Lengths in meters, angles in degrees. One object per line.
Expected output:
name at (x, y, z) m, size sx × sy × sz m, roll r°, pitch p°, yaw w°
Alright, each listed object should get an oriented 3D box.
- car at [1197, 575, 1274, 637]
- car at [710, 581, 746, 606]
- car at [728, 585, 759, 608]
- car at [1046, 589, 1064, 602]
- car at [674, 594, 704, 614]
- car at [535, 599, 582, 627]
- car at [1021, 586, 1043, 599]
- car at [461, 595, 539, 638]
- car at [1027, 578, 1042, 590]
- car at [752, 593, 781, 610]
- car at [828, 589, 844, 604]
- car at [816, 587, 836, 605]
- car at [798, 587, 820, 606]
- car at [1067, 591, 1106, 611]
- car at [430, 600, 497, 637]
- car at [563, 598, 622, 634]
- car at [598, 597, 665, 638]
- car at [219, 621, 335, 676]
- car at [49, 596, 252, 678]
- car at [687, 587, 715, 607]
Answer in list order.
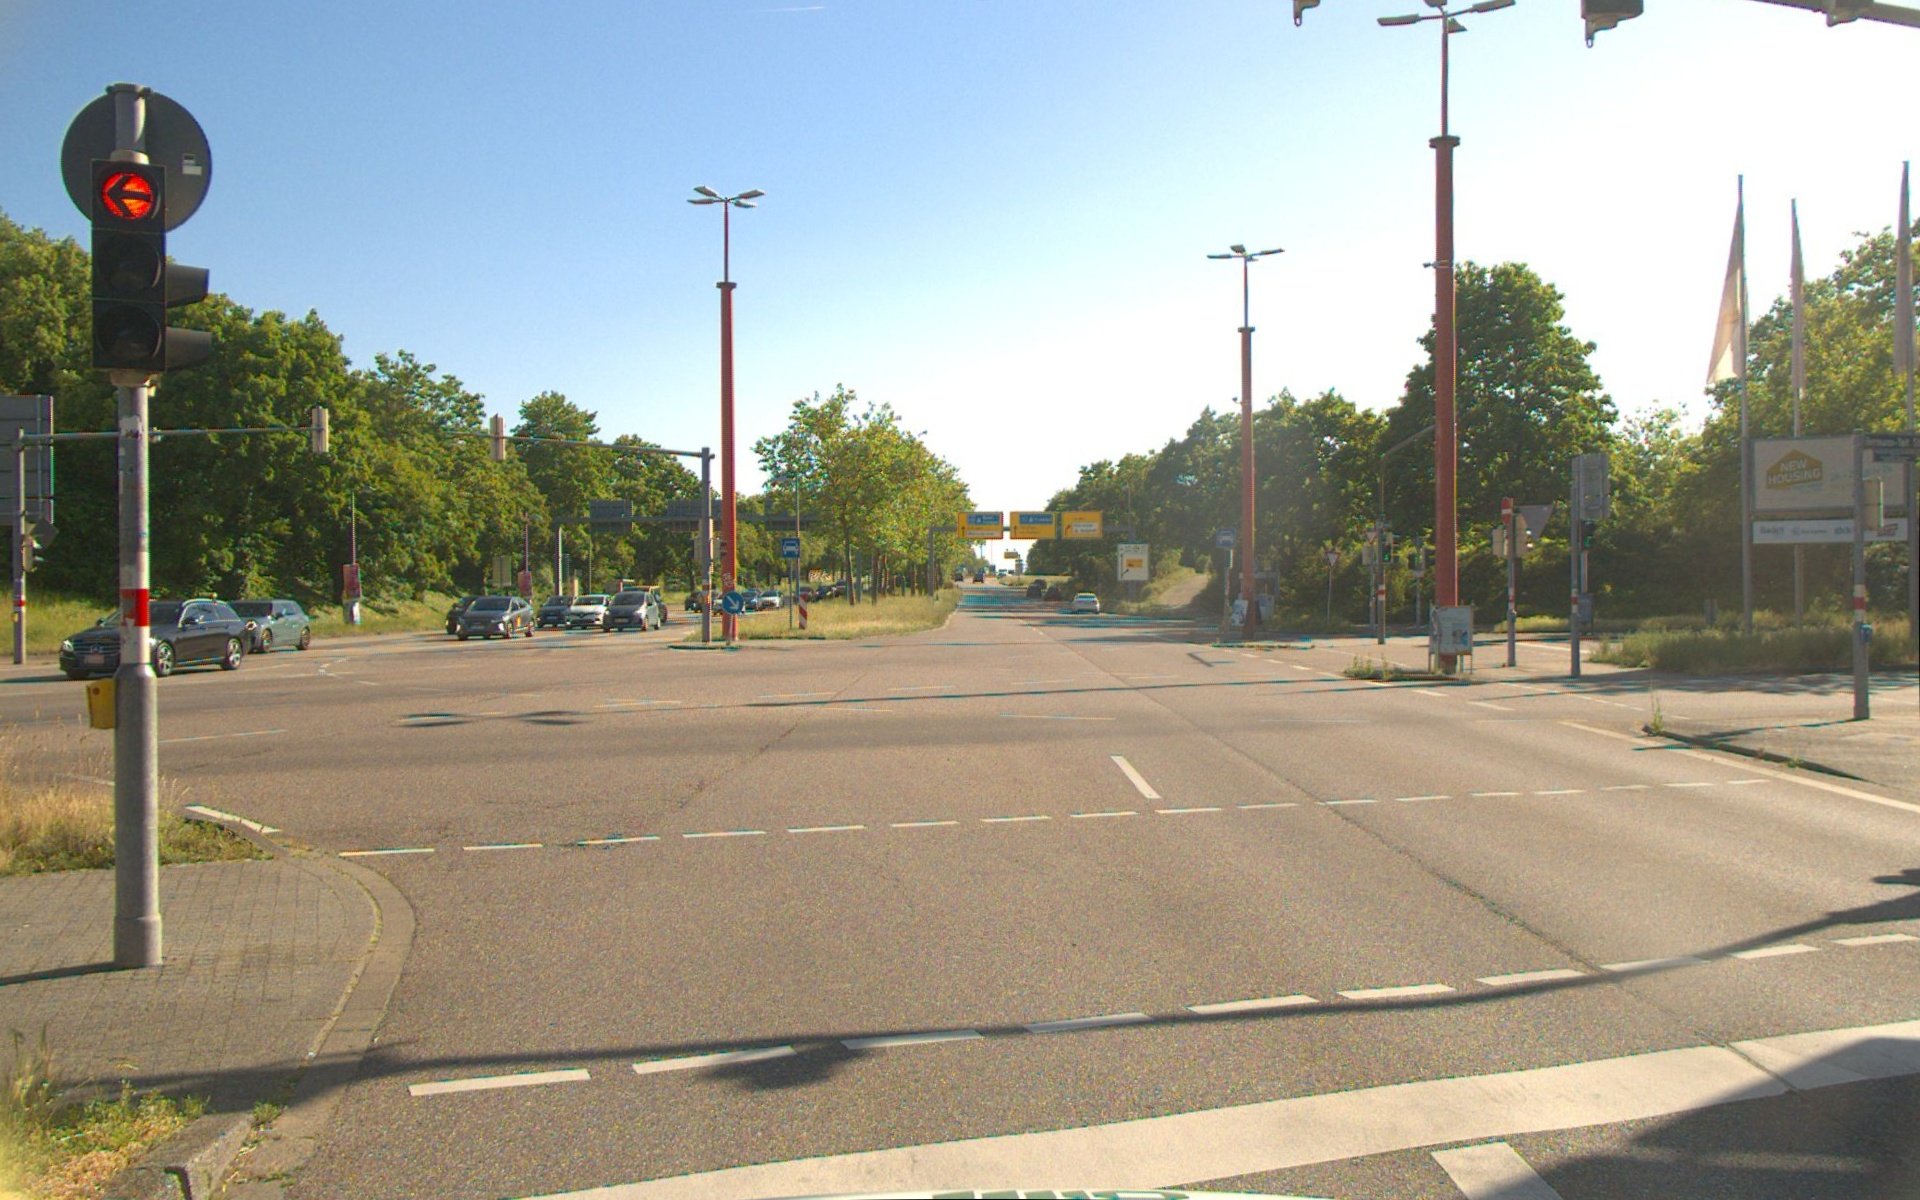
car at (9.028, 0.175, 53.978) m, size 1.951 × 1.920 × 4.002 m, roll 0°, pitch 0°, yaw 17°
car at (-15.150, -0.408, 108.317) m, size 1.668 × 1.624 × 4.001 m, roll 1°, pitch 0°, yaw 1°
car at (-15.661, -0.251, 119.867) m, size 1.668 × 1.586 × 3.804 m, roll 1°, pitch 0°, yaw 1°
car at (9.862, -0.487, 171.533) m, size 1.702 × 1.365 × 3.082 m, roll 0°, pitch 0°, yaw 1°
car at (-22.875, 0.359, 139.840) m, size 1.953 × 1.667 × 3.999 m, roll 1°, pitch 0°, yaw -1°
car at (-19.055, 0.606, 78.610) m, size 1.424 × 1.296 × 3.612 m, roll 1°, pitch 0°, yaw -1°
car at (8.475, -0.920, 195.139) m, size 1.955 × 1.523 × 3.995 m, roll 0°, pitch 0°, yaw -6°
car at (-15.900, 0.555, 57.367) m, size 1.516 × 1.401 × 4.262 m, roll 0°, pitch 0°, yaw 0°
car at (9.937, -2.103, 220.582) m, size 1.952 × 1.567 × 4.000 m, roll 1°, pitch 0°, yaw 1°
car at (-15.361, 0.133, 131.688) m, size 1.963 × 1.330 × 3.998 m, roll 0°, pitch 0°, yaw -2°
car at (-14.494, -0.413, 193.341) m, size 1.574 × 1.761 × 3.789 m, roll 1°, pitch 0°, yaw 1°
car at (-14.013, -0.401, 172.980) m, size 1.622 × 1.778 × 4.001 m, roll 1°, pitch 0°, yaw 2°
car at (-14.091, -0.350, 154.816) m, size 1.592 × 1.769 × 4.001 m, roll 0°, pitch 0°, yaw 1°
car at (8.770, 0.061, 115.002) m, size 2.014 × 1.395 × 4.388 m, roll 0°, pitch 0°, yaw -4°
car at (-20.648, 0.749, 68.917) m, size 1.512 × 1.458 × 3.886 m, roll -1°, pitch 0°, yaw 1°
car at (-15.780, 0.657, 71.180) m, size 1.572 × 1.485 × 3.951 m, roll 0°, pitch 0°, yaw 1°
car at (-12.598, 0.654, 63.589) m, size 1.666 × 1.446 × 4.000 m, roll 3°, pitch 0°, yaw 1°
car at (-18.896, 1.305, 45.941) m, size 1.400 × 1.412 × 4.140 m, roll 1°, pitch 0°, yaw 1°
car at (-16.040, 0.691, 33.076) m, size 1.838 × 1.511 × 4.604 m, roll 1°, pitch 0°, yaw -1°
car at (-19.417, -0.235, 124.089) m, size 1.595 × 1.476 × 3.434 m, roll 1°, pitch 0°, yaw 0°
